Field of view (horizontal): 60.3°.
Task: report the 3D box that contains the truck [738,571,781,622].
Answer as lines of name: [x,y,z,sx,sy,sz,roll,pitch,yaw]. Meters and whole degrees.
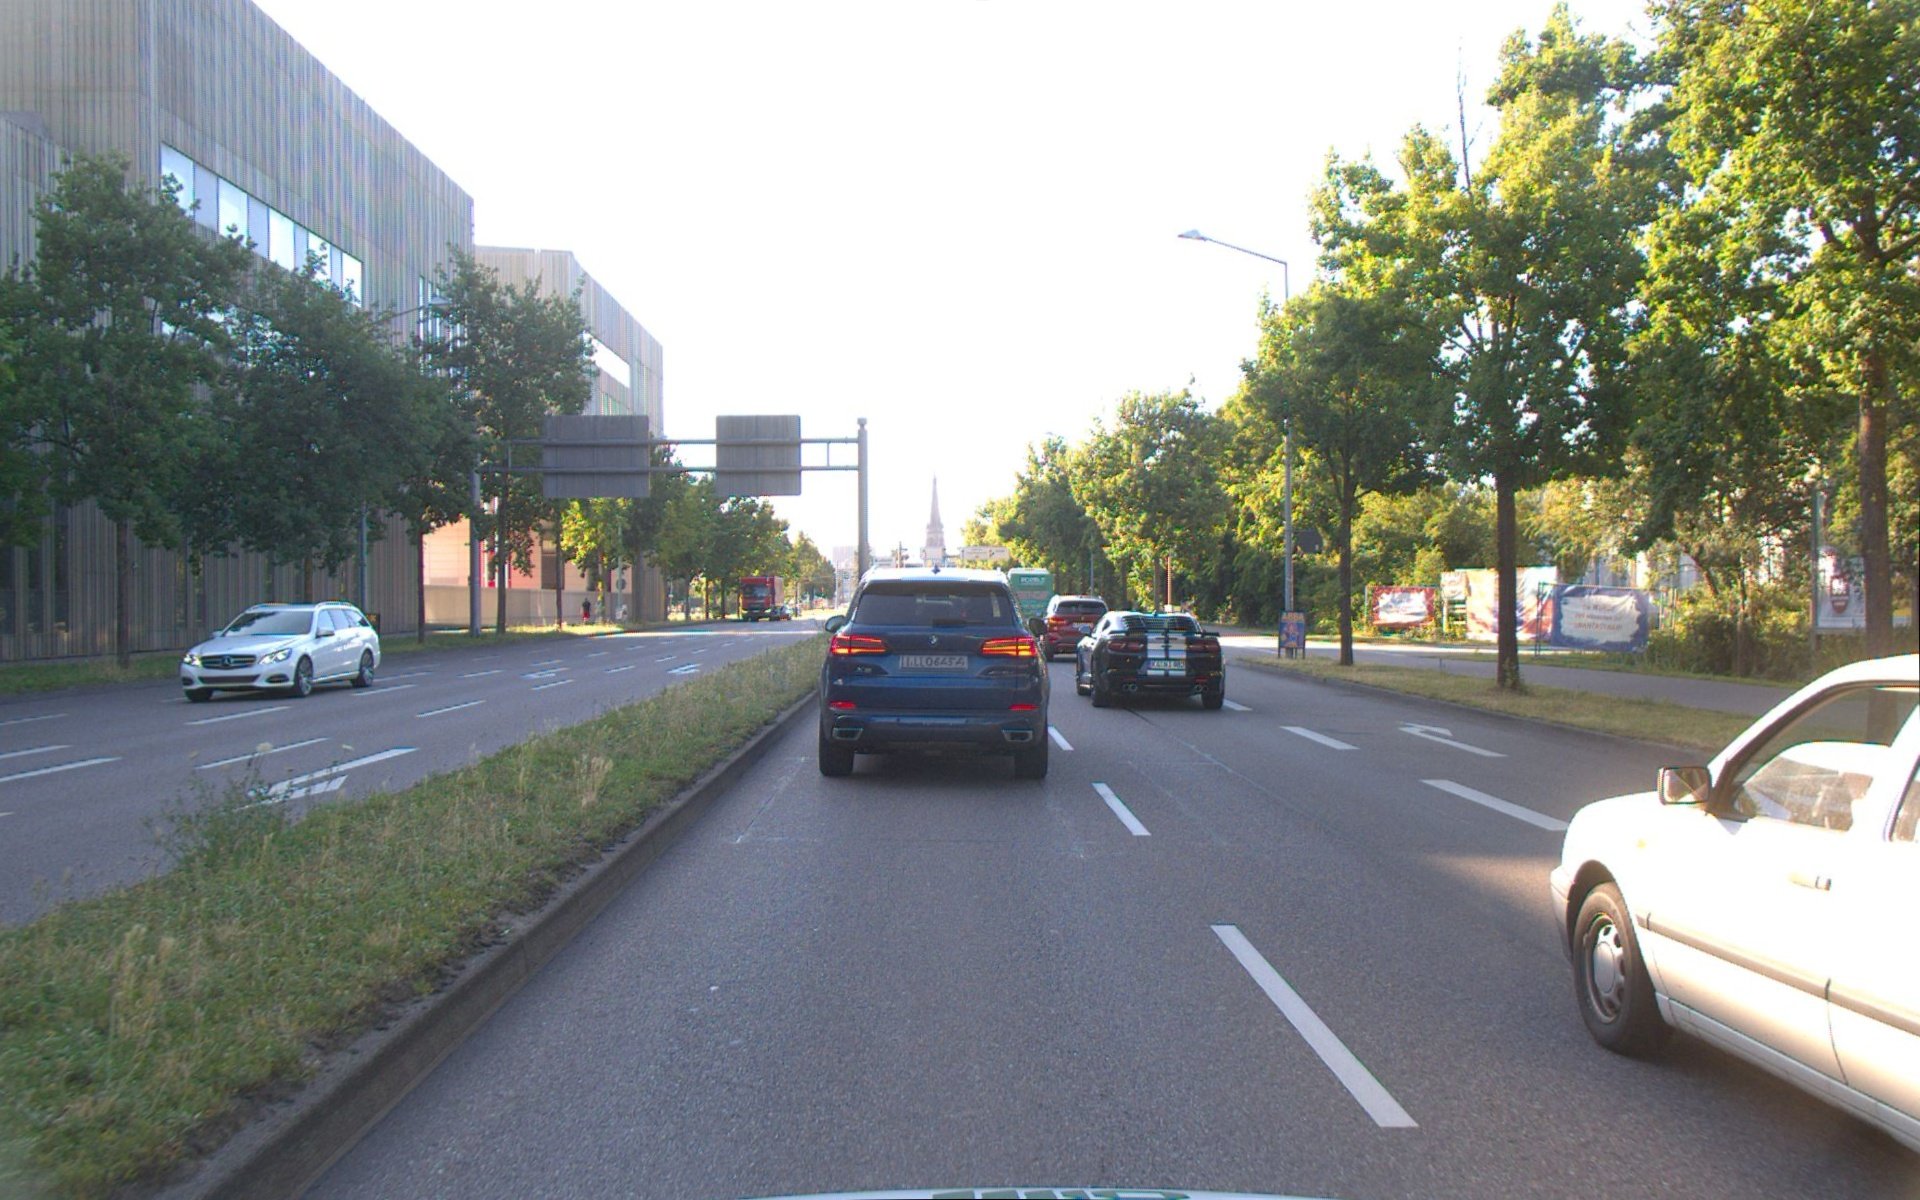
truck: [-15.901,-0.285,131.492,2.939,3.878,10.079,0,0,-5]

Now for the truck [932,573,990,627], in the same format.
truck: [0.008,0.007,83.811,2.529,2.603,6.246,-1,0,-4]

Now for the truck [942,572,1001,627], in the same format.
truck: [0.541,-0.024,83.163,2.179,2.697,4.763,0,0,-9]

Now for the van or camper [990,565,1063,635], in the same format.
van or camper: [2.636,-0.005,67.362,2.239,2.675,6.577,1,0,-4]

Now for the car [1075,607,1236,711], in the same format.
car: [2.784,0.803,24.451,1.816,1.361,4.625,1,0,0]

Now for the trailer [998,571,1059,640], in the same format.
trailer: [2.502,0.216,61.271,2.047,2.442,3.500,1,0,-1]

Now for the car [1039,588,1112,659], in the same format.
car: [2.893,0.610,41.336,1.710,1.649,3.821,-1,-2,4]

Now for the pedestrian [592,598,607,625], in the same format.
pedestrian: [-22.733,0.722,104.315,0.760,1.629,0.909,-1,0,0]

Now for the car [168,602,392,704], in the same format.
car: [-11.383,0.832,28.085,1.808,1.498,4.815,-2,0,-1]

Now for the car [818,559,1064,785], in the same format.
car: [-0.147,0.596,15.331,1.915,1.757,4.699,1,-1,0]

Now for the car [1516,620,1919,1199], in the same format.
car: [3.071,0.804,4.555,1.578,1.423,4.036,2,0,-2]
